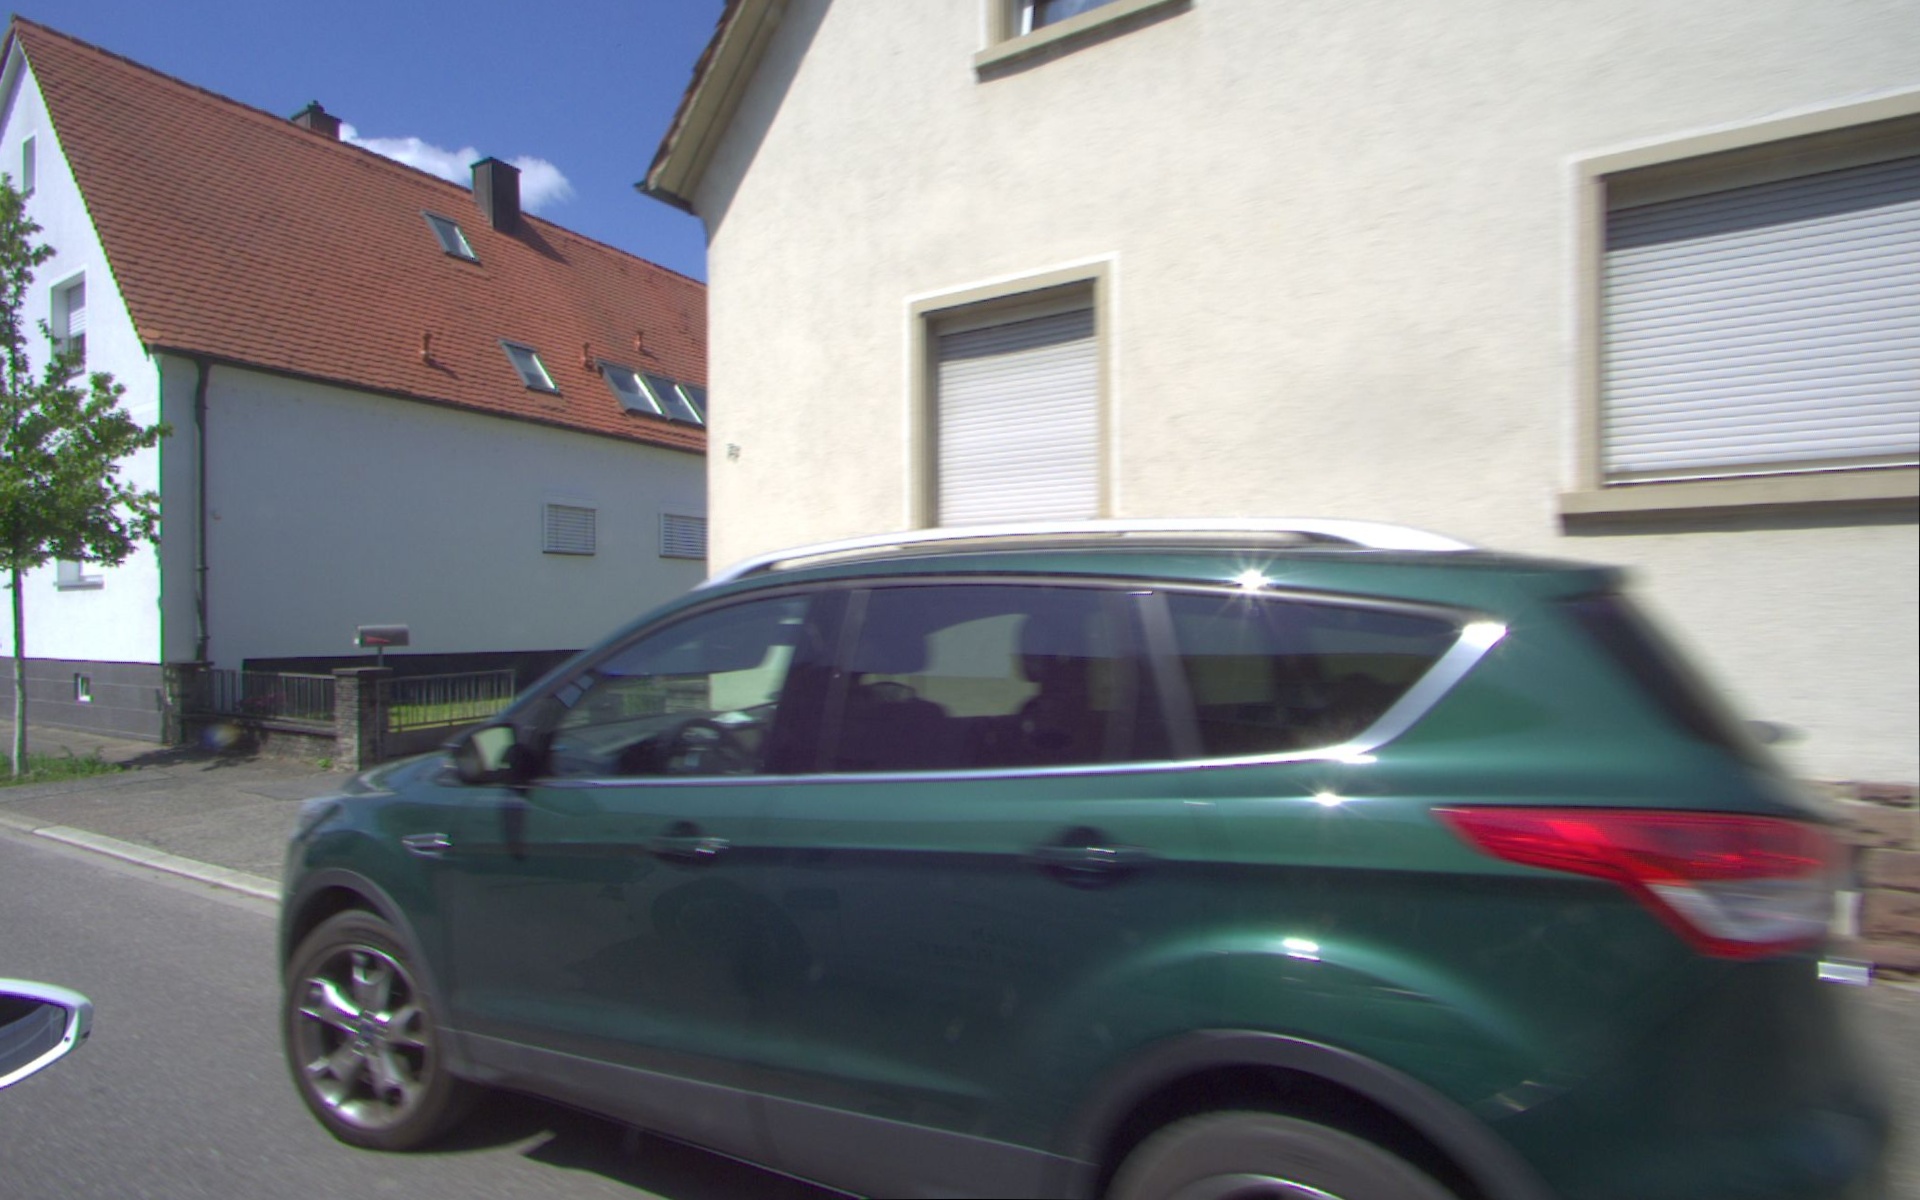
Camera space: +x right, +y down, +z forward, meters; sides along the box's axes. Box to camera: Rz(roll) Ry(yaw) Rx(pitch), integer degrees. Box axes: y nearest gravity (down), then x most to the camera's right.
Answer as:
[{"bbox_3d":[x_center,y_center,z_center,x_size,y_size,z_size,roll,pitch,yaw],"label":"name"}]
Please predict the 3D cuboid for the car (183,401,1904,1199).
[{"bbox_3d":[-0.293,0.676,2.988,4.211,1.739,1.727,-1,-1,30],"label":"car"}]

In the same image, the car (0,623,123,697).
[{"bbox_3d":[-19.239,1.169,19.720,1.715,1.433,3.915,0,-1,32],"label":"car"}]
